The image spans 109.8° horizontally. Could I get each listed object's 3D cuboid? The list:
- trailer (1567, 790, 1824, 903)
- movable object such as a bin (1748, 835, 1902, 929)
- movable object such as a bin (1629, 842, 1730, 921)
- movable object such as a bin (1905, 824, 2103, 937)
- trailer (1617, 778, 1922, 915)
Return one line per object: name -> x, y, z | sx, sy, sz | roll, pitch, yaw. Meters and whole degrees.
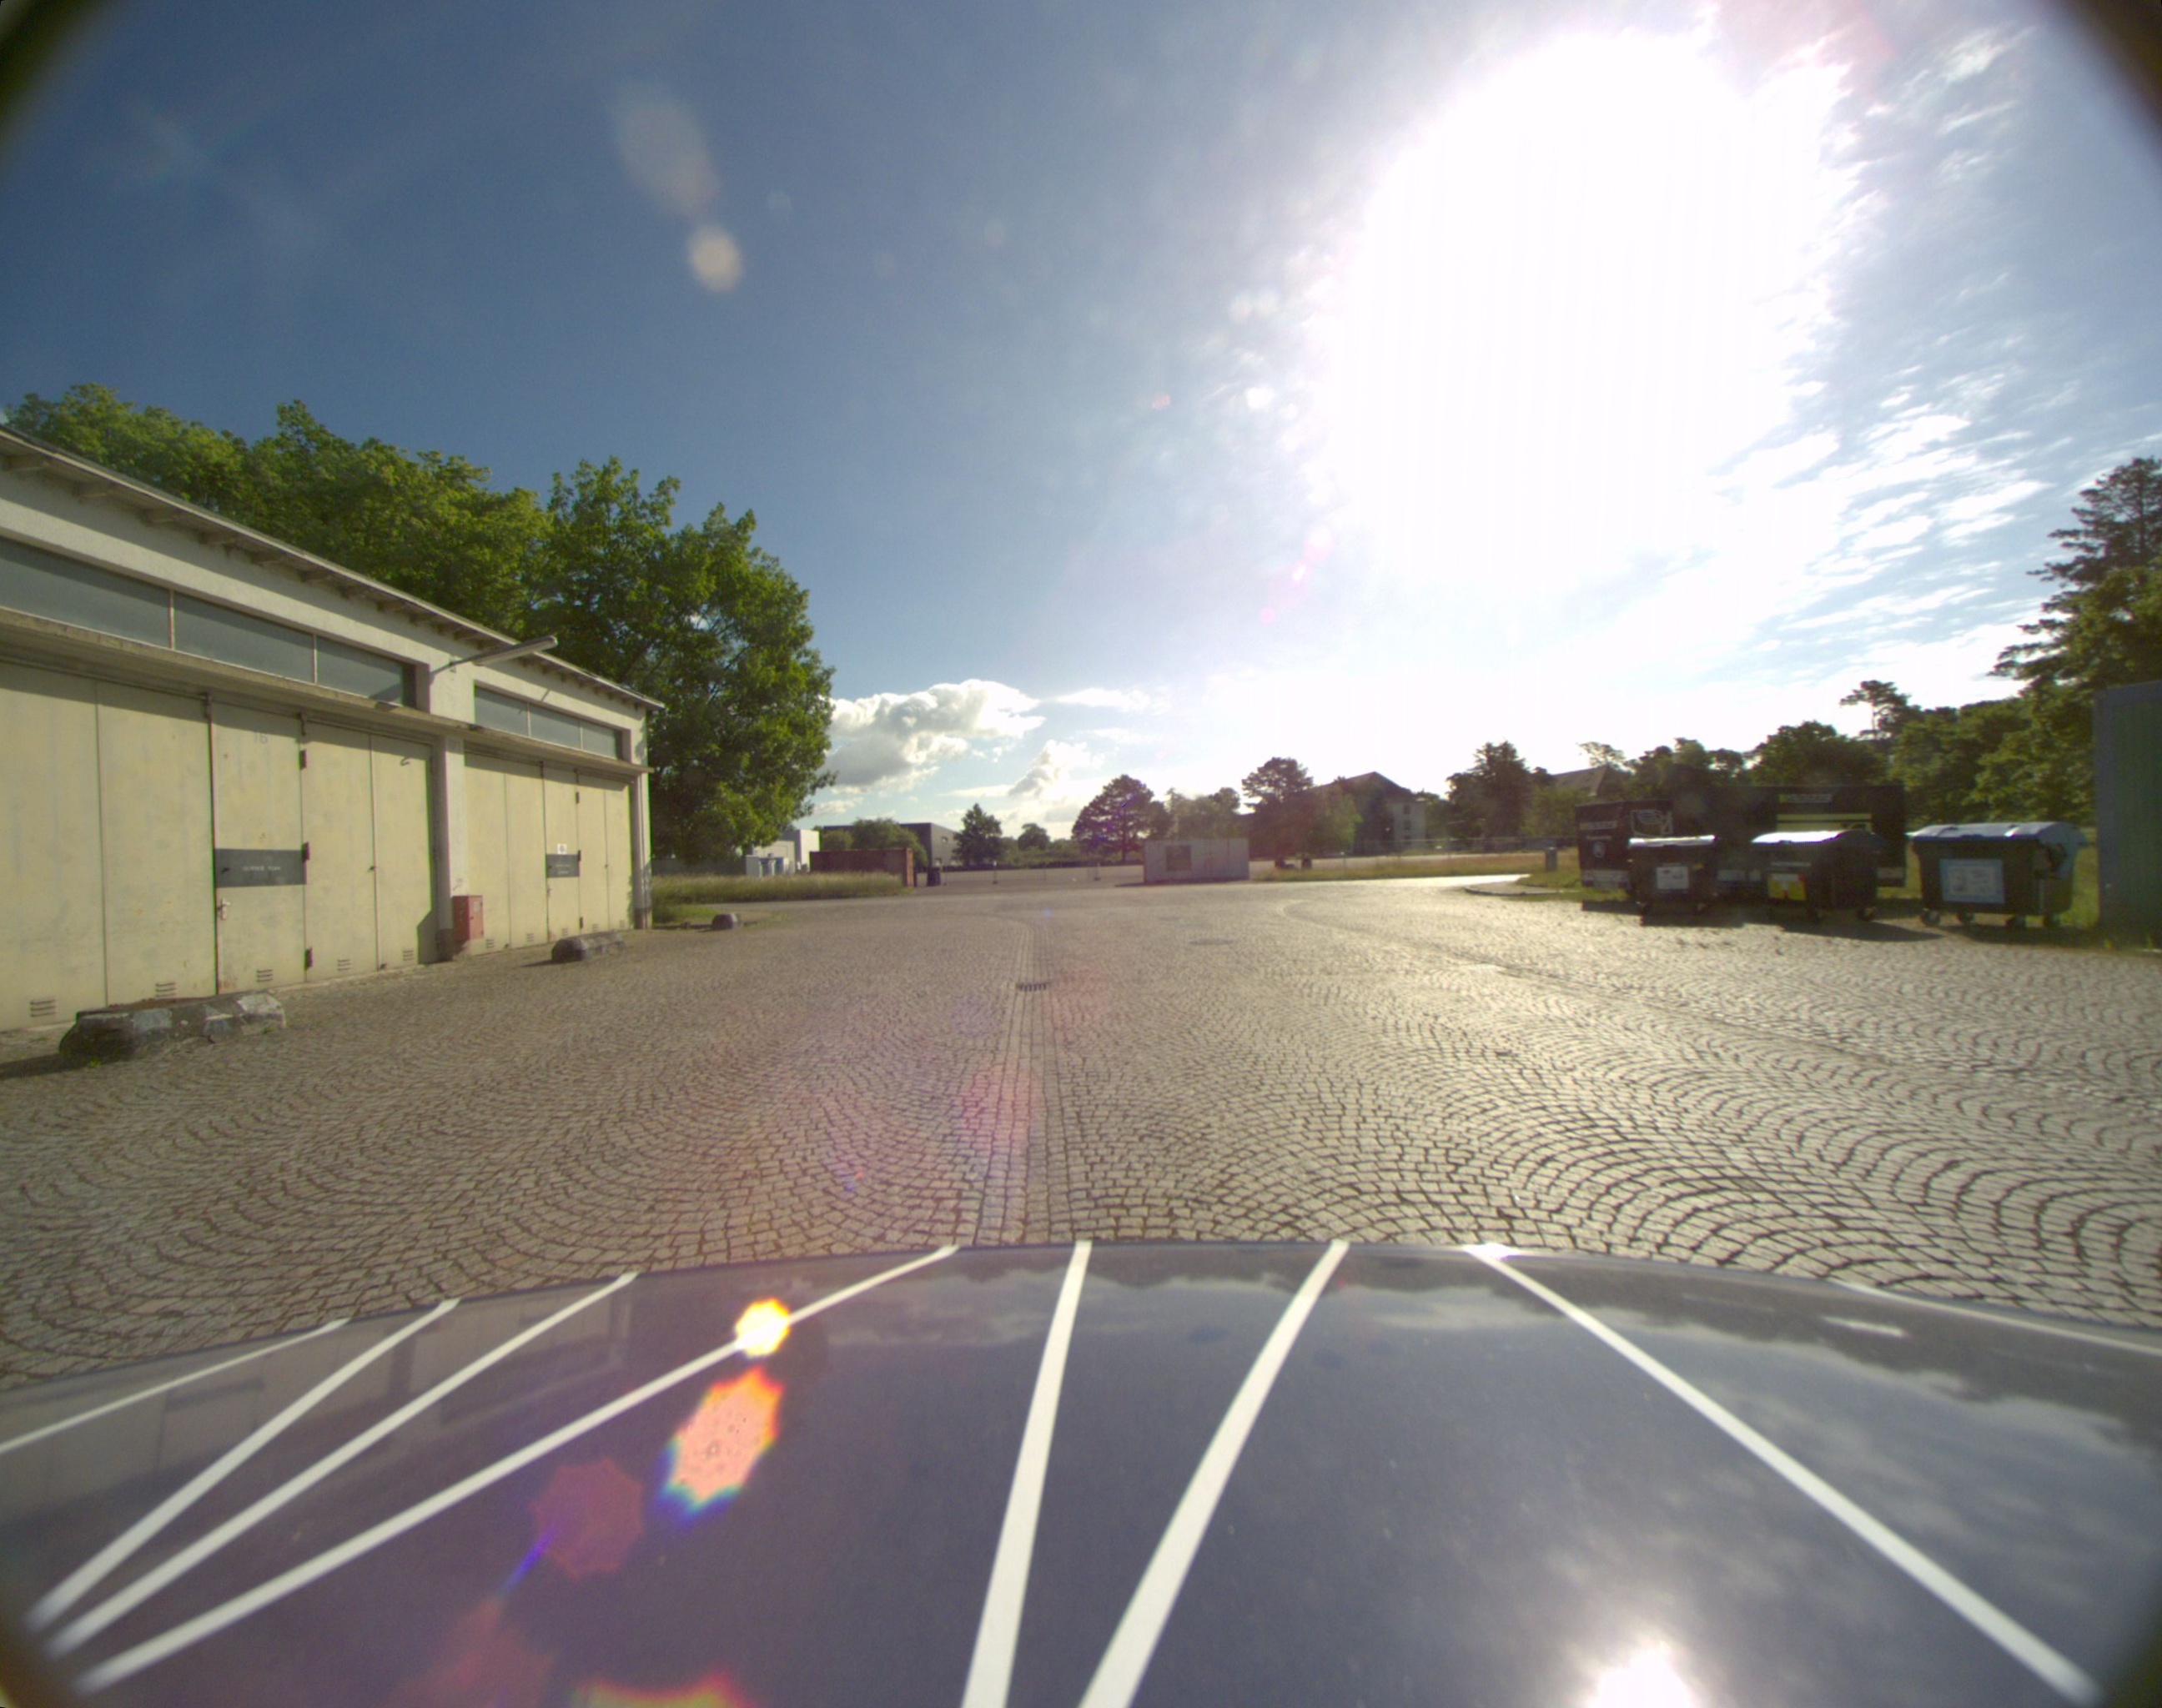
trailer -> 14.375, -0.172, 17.961 | 4.466, 2.260, 2.013 | -3, 1, -3
movable object such as a bin -> 11.831, 0.419, 12.152 | 1.083, 1.377, 1.369 | -2, 0, 0
movable object such as a bin -> 11.189, 0.497, 14.209 | 1.361, 1.377, 1.049 | -2, 1, 44
movable object such as a bin -> 12.759, 0.337, 10.561 | 1.089, 1.428, 1.407 | -2, 0, -15
trailer -> 13.986, -0.174, 15.558 | 4.855, 2.377, 1.941 | -3, 1, -9
